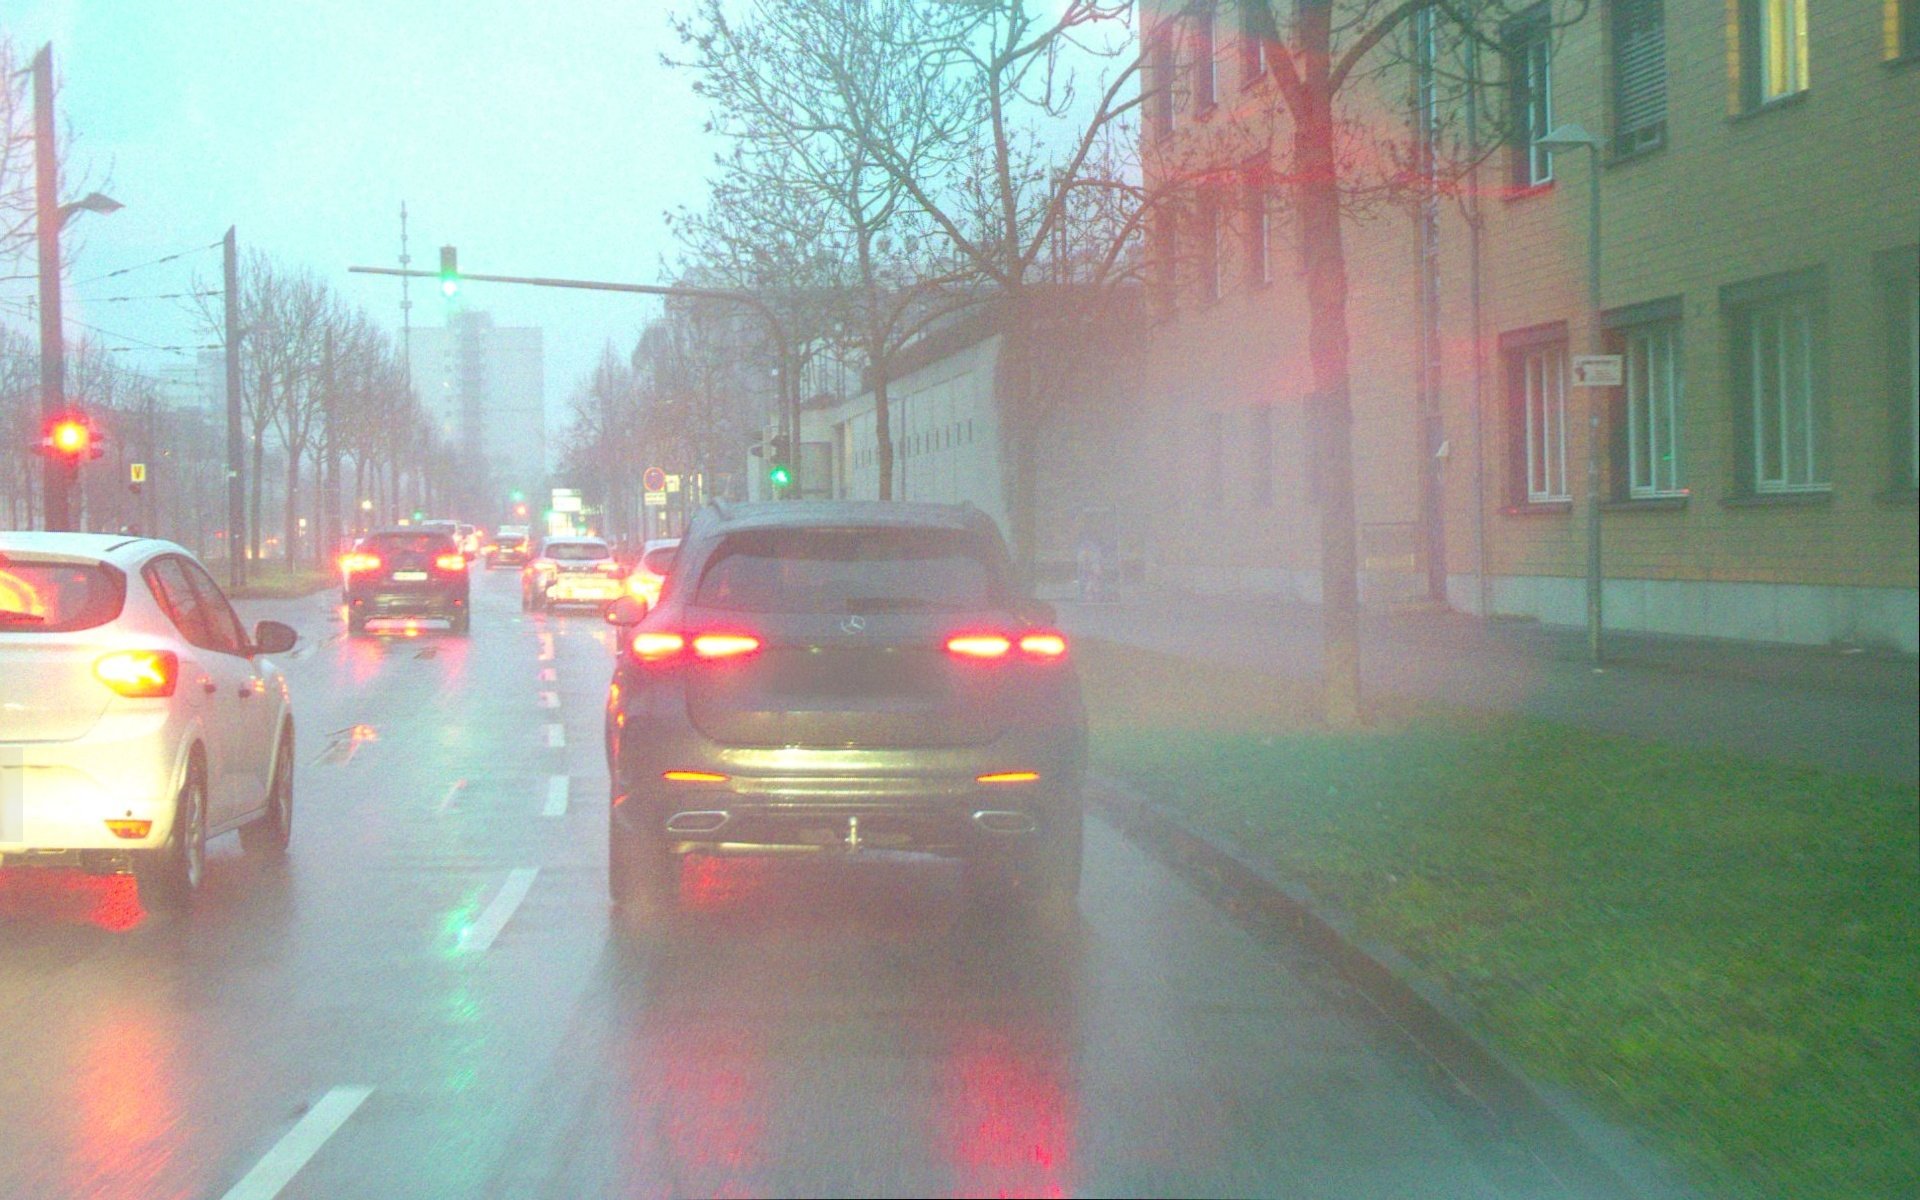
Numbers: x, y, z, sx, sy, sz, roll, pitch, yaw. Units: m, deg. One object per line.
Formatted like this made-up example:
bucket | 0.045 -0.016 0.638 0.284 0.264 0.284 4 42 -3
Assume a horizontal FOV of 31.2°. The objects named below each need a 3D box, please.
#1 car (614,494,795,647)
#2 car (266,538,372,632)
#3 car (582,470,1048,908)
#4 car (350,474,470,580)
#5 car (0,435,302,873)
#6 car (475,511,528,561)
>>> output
car | -3.146 -0.378 41.661 1.993 1.738 4.001 -1 1 -7
car | -14.408 -0.363 77.437 1.993 2.007 4.001 -1 1 -6
car | -0.746 0.288 14.606 1.671 1.594 4.054 0 1 -7
car | -8.575 -1.136 53.826 1.671 1.594 4.054 0 1 -7
car | -3.781 0.160 14.530 1.671 1.594 4.054 0 1 -7
car | -19.293 -2.703 144.806 1.993 2.006 4.001 -2 2 -6
